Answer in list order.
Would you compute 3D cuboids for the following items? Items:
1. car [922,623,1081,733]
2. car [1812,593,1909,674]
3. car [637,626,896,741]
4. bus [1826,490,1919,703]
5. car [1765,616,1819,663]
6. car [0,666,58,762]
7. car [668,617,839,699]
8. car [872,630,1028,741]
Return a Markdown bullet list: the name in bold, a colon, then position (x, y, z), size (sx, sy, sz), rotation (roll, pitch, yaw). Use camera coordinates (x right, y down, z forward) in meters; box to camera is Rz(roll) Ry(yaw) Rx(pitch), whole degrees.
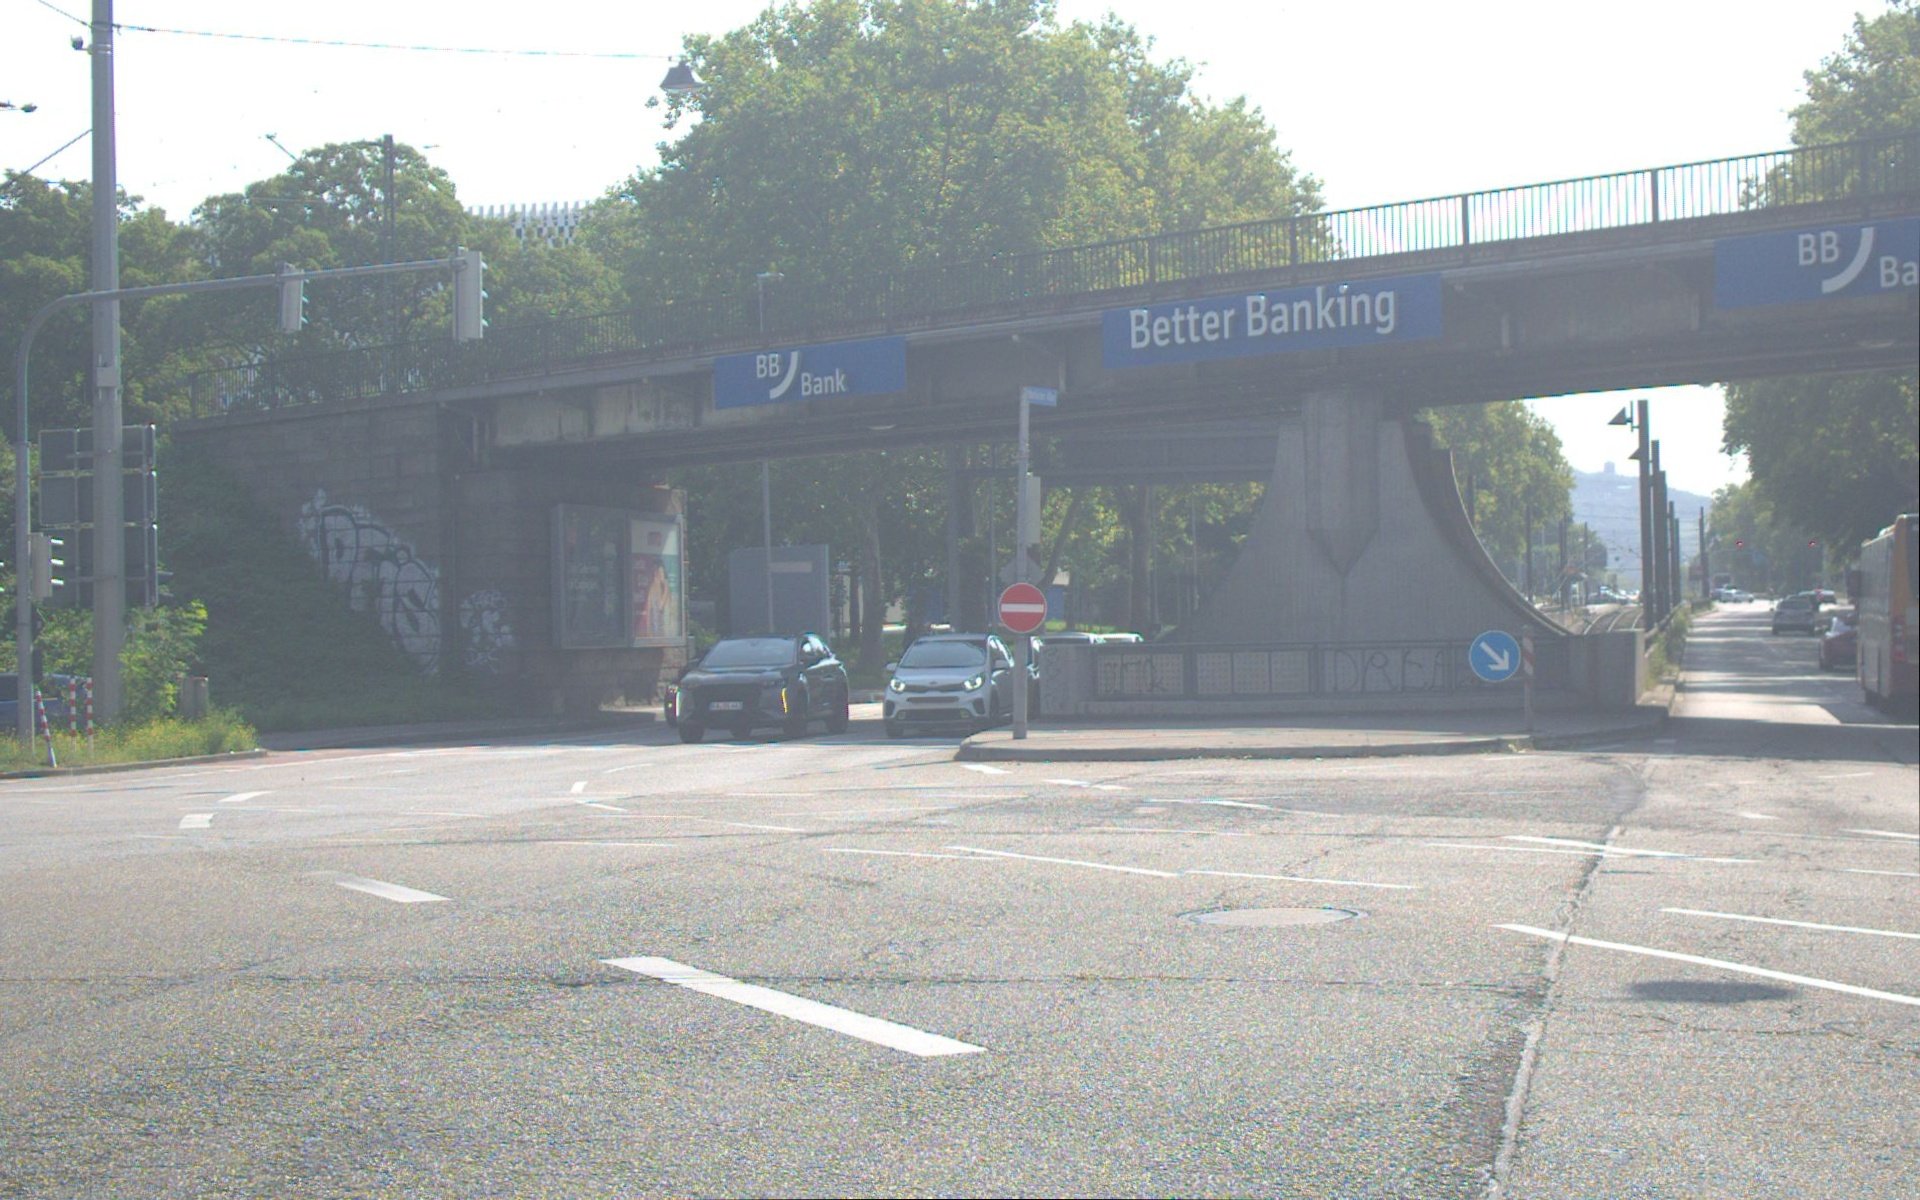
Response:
- **car**: position (0.726, 1.231, 55.824), size (1.994, 1.567, 4.346), rotation (0, 1, 9)
- **car**: position (23.300, 0.855, 89.062), size (1.994, 2.007, 3.998), rotation (1, 0, 9)
- **car**: position (-2.920, 1.261, 52.828), size (1.904, 1.611, 4.467), rotation (-3, -1, 27)
- **bus**: position (16.016, 0.014, 56.111), size (3.136, 3.103, 12.283), rotation (1, 0, 12)
- **car**: position (37.144, 1.739, 153.478), size (1.994, 2.007, 3.998), rotation (1, 0, 9)
- **car**: position (-16.172, 1.739, 53.667), size (3.986, 1.423, 1.787), rotation (2, 0, -14)
- **car**: position (-3.838, 1.083, 64.319), size (1.641, 1.462, 3.548), rotation (1, 0, 26)
- **car**: position (-0.112, 1.248, 51.219), size (1.722, 1.533, 3.694), rotation (-2, -1, 9)
